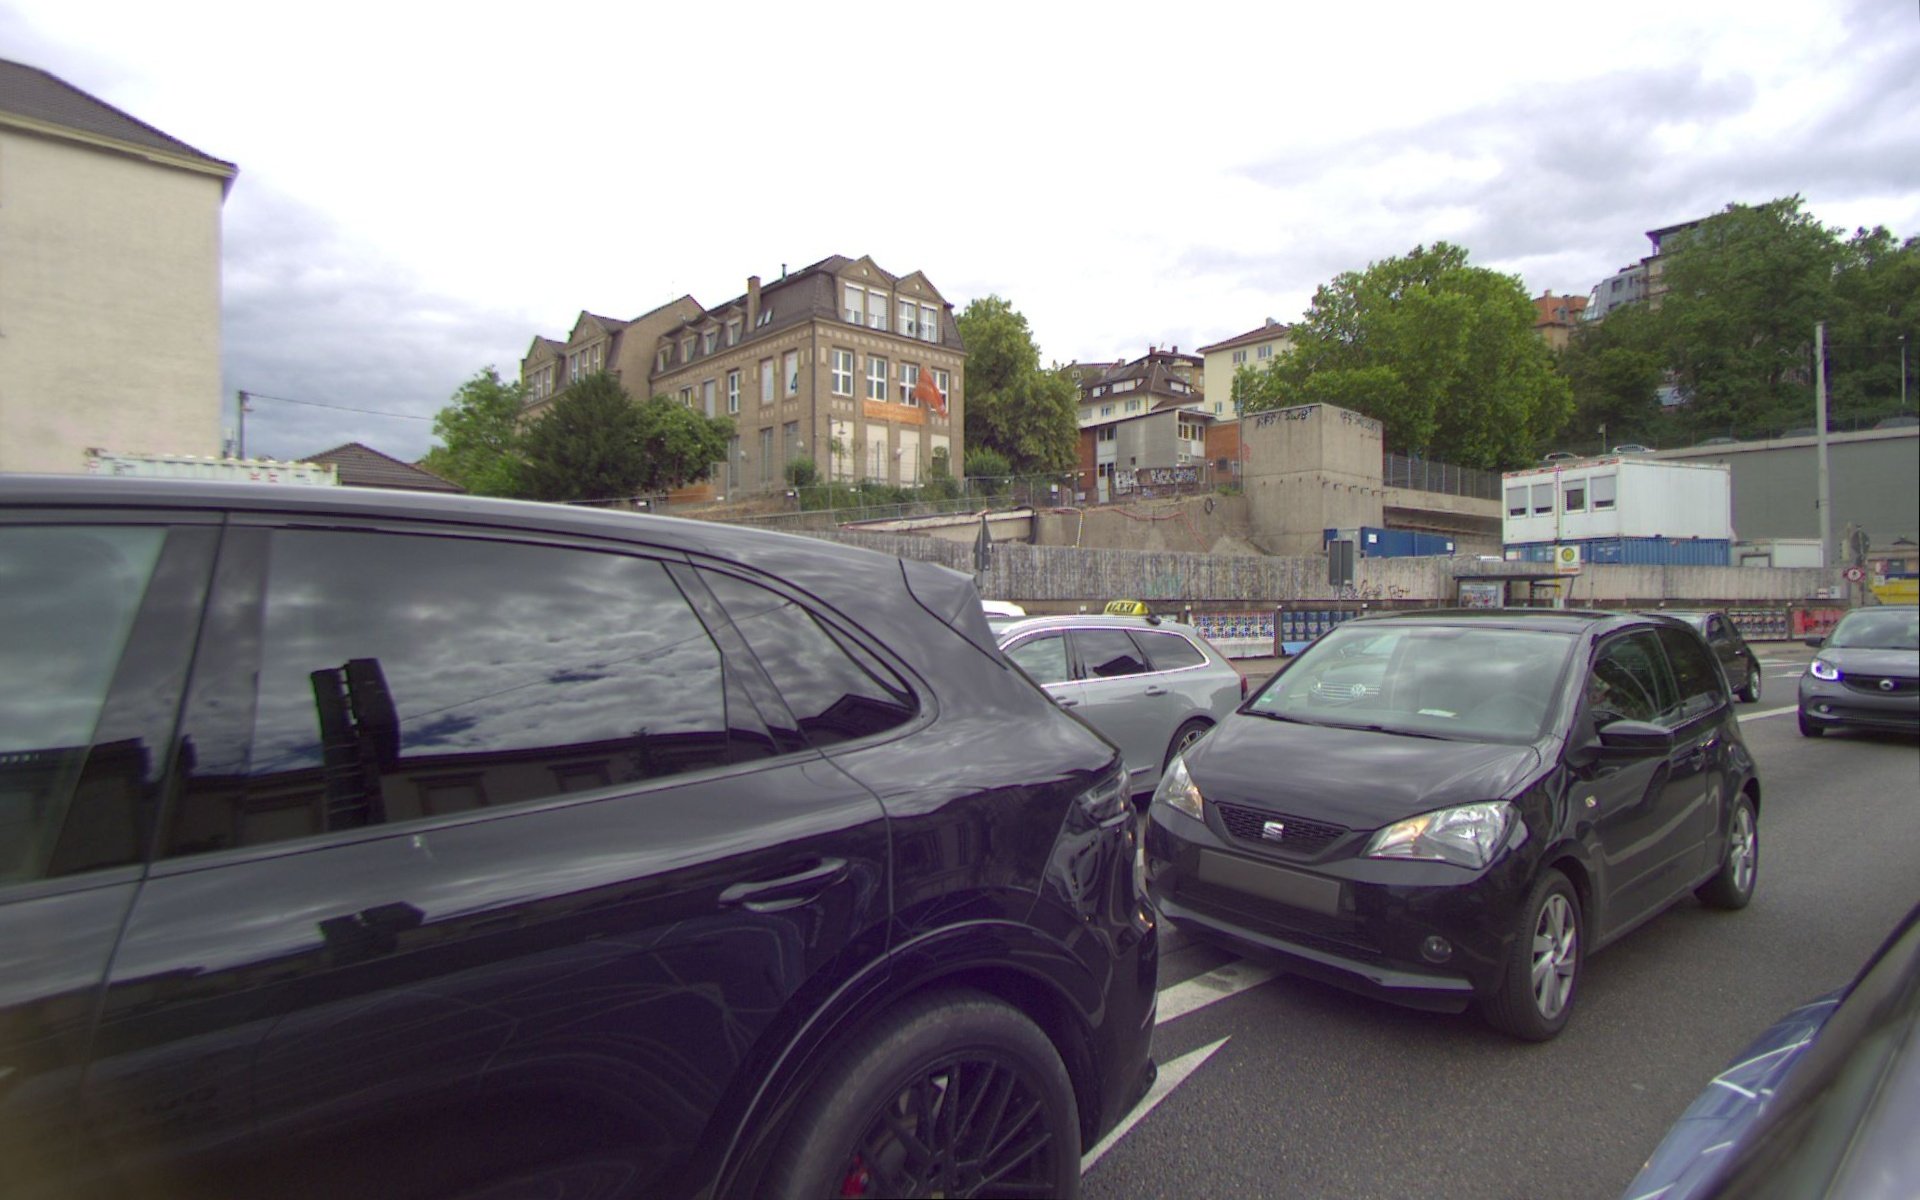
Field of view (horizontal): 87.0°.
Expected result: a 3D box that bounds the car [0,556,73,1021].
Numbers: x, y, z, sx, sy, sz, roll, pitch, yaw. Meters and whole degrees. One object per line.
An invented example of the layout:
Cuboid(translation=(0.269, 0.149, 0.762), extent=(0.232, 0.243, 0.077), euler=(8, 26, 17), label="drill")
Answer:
Cuboid(translation=(-5.303, 0.683, 3.041), extent=(3.930, 1.645, 1.679), euler=(-1, 0, -41), label="car")

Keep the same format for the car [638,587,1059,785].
Cuboid(translation=(-1.006, 0.701, 10.480), extent=(4.136, 1.645, 1.679), euler=(-1, 0, -41), label="car")

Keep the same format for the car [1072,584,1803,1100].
Cuboid(translation=(2.437, 0.672, 4.793), extent=(3.636, 1.476, 1.827), euler=(-1, 0, -41), label="car")

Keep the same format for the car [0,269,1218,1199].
Cuboid(translation=(-1.666, 0.543, 1.563), extent=(4.406, 1.736, 1.827), euler=(-1, 0, -41), label="car")

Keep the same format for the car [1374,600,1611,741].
Cuboid(translation=(6.415, 0.741, 12.142), extent=(2.667, 1.449, 1.664), euler=(-1, 0, -41), label="car")

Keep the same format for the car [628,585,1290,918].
Cuboid(translation=(0.270, 0.725, 7.263), extent=(4.725, 1.645, 1.827), euler=(-1, 0, -41), label="car")

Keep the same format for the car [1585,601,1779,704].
Cuboid(translation=(11.509, 0.739, 16.056), extent=(3.740, 1.383, 1.679), euler=(-1, 0, -41), label="car")

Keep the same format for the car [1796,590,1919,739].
Cuboid(translation=(11.337, 0.679, 11.840), extent=(3.509, 1.563, 1.720), euler=(0, 0, -39), label="car")
